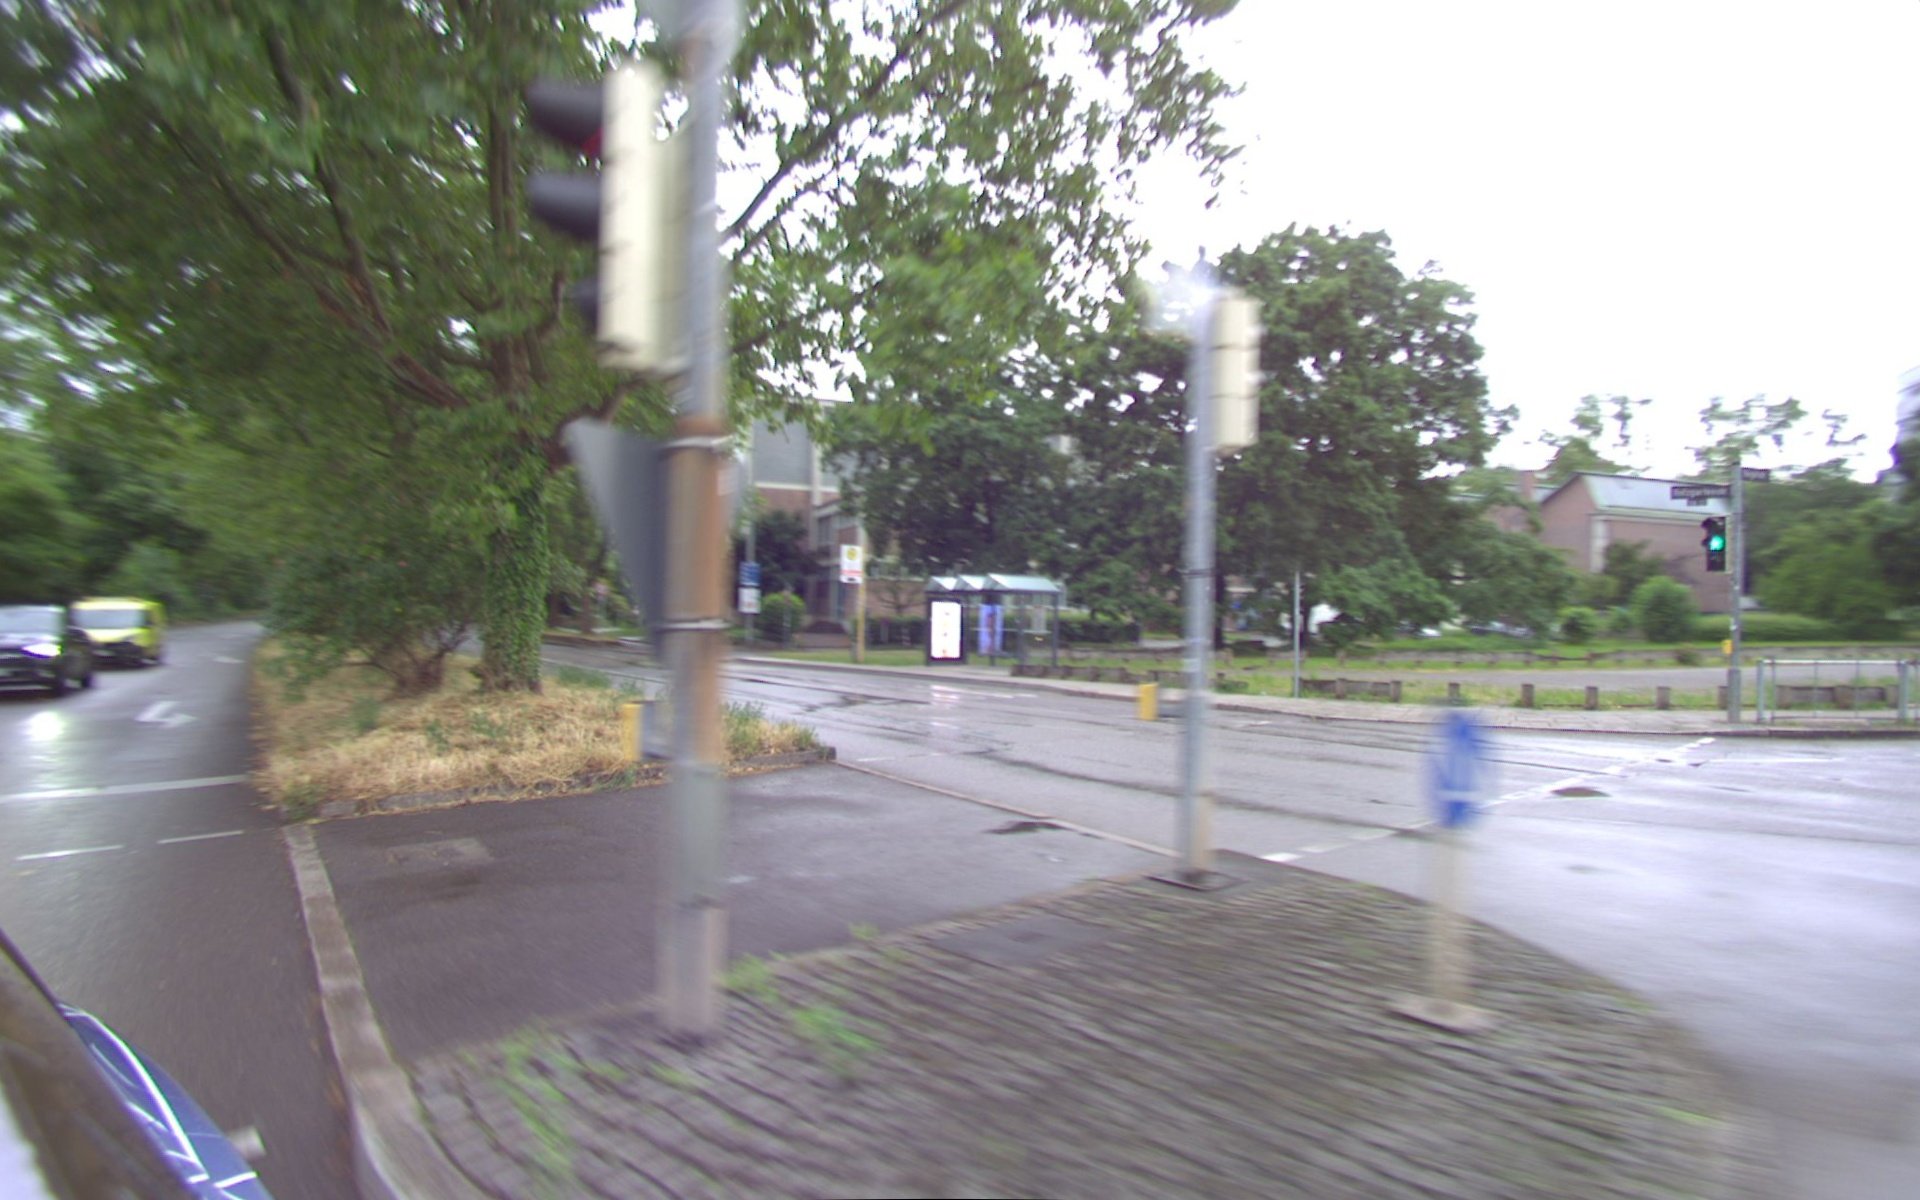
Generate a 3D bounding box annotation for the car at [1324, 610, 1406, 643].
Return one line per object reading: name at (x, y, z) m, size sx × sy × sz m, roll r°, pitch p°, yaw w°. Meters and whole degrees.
car at (27.540, 1.782, 68.987) m, size 2.248 × 2.037 × 5.096 m, roll 0°, pitch 1°, yaw -22°

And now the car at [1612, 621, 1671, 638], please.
car at (53.584, 2.331, 79.582) m, size 1.565 × 1.151 × 3.568 m, roll 0°, pitch 1°, yaw -22°

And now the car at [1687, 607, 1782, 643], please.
car at (65.390, 2.057, 85.458) m, size 6.353 × 2.838 × 3.611 m, roll 0°, pitch 1°, yaw -22°

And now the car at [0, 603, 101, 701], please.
car at (-17.294, 0.898, 18.706) m, size 1.804 × 1.620 × 4.588 m, roll 0°, pitch 0°, yaw -36°

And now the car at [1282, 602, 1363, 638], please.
car at (24.205, 1.276, 67.759) m, size 2.248 × 2.195 × 5.096 m, roll 0°, pitch 1°, yaw -22°

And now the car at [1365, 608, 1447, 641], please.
car at (30.871, 1.628, 70.235) m, size 2.248 × 2.090 × 5.096 m, roll 0°, pitch 1°, yaw -21°

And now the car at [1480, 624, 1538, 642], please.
car at (40.062, 2.397, 73.927) m, size 1.565 × 1.151 × 3.568 m, roll 0°, pitch 1°, yaw -22°

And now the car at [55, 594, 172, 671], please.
car at (-23.083, 0.840, 27.763) m, size 1.854 × 1.890 × 4.755 m, roll -1°, pitch 0°, yaw -33°
